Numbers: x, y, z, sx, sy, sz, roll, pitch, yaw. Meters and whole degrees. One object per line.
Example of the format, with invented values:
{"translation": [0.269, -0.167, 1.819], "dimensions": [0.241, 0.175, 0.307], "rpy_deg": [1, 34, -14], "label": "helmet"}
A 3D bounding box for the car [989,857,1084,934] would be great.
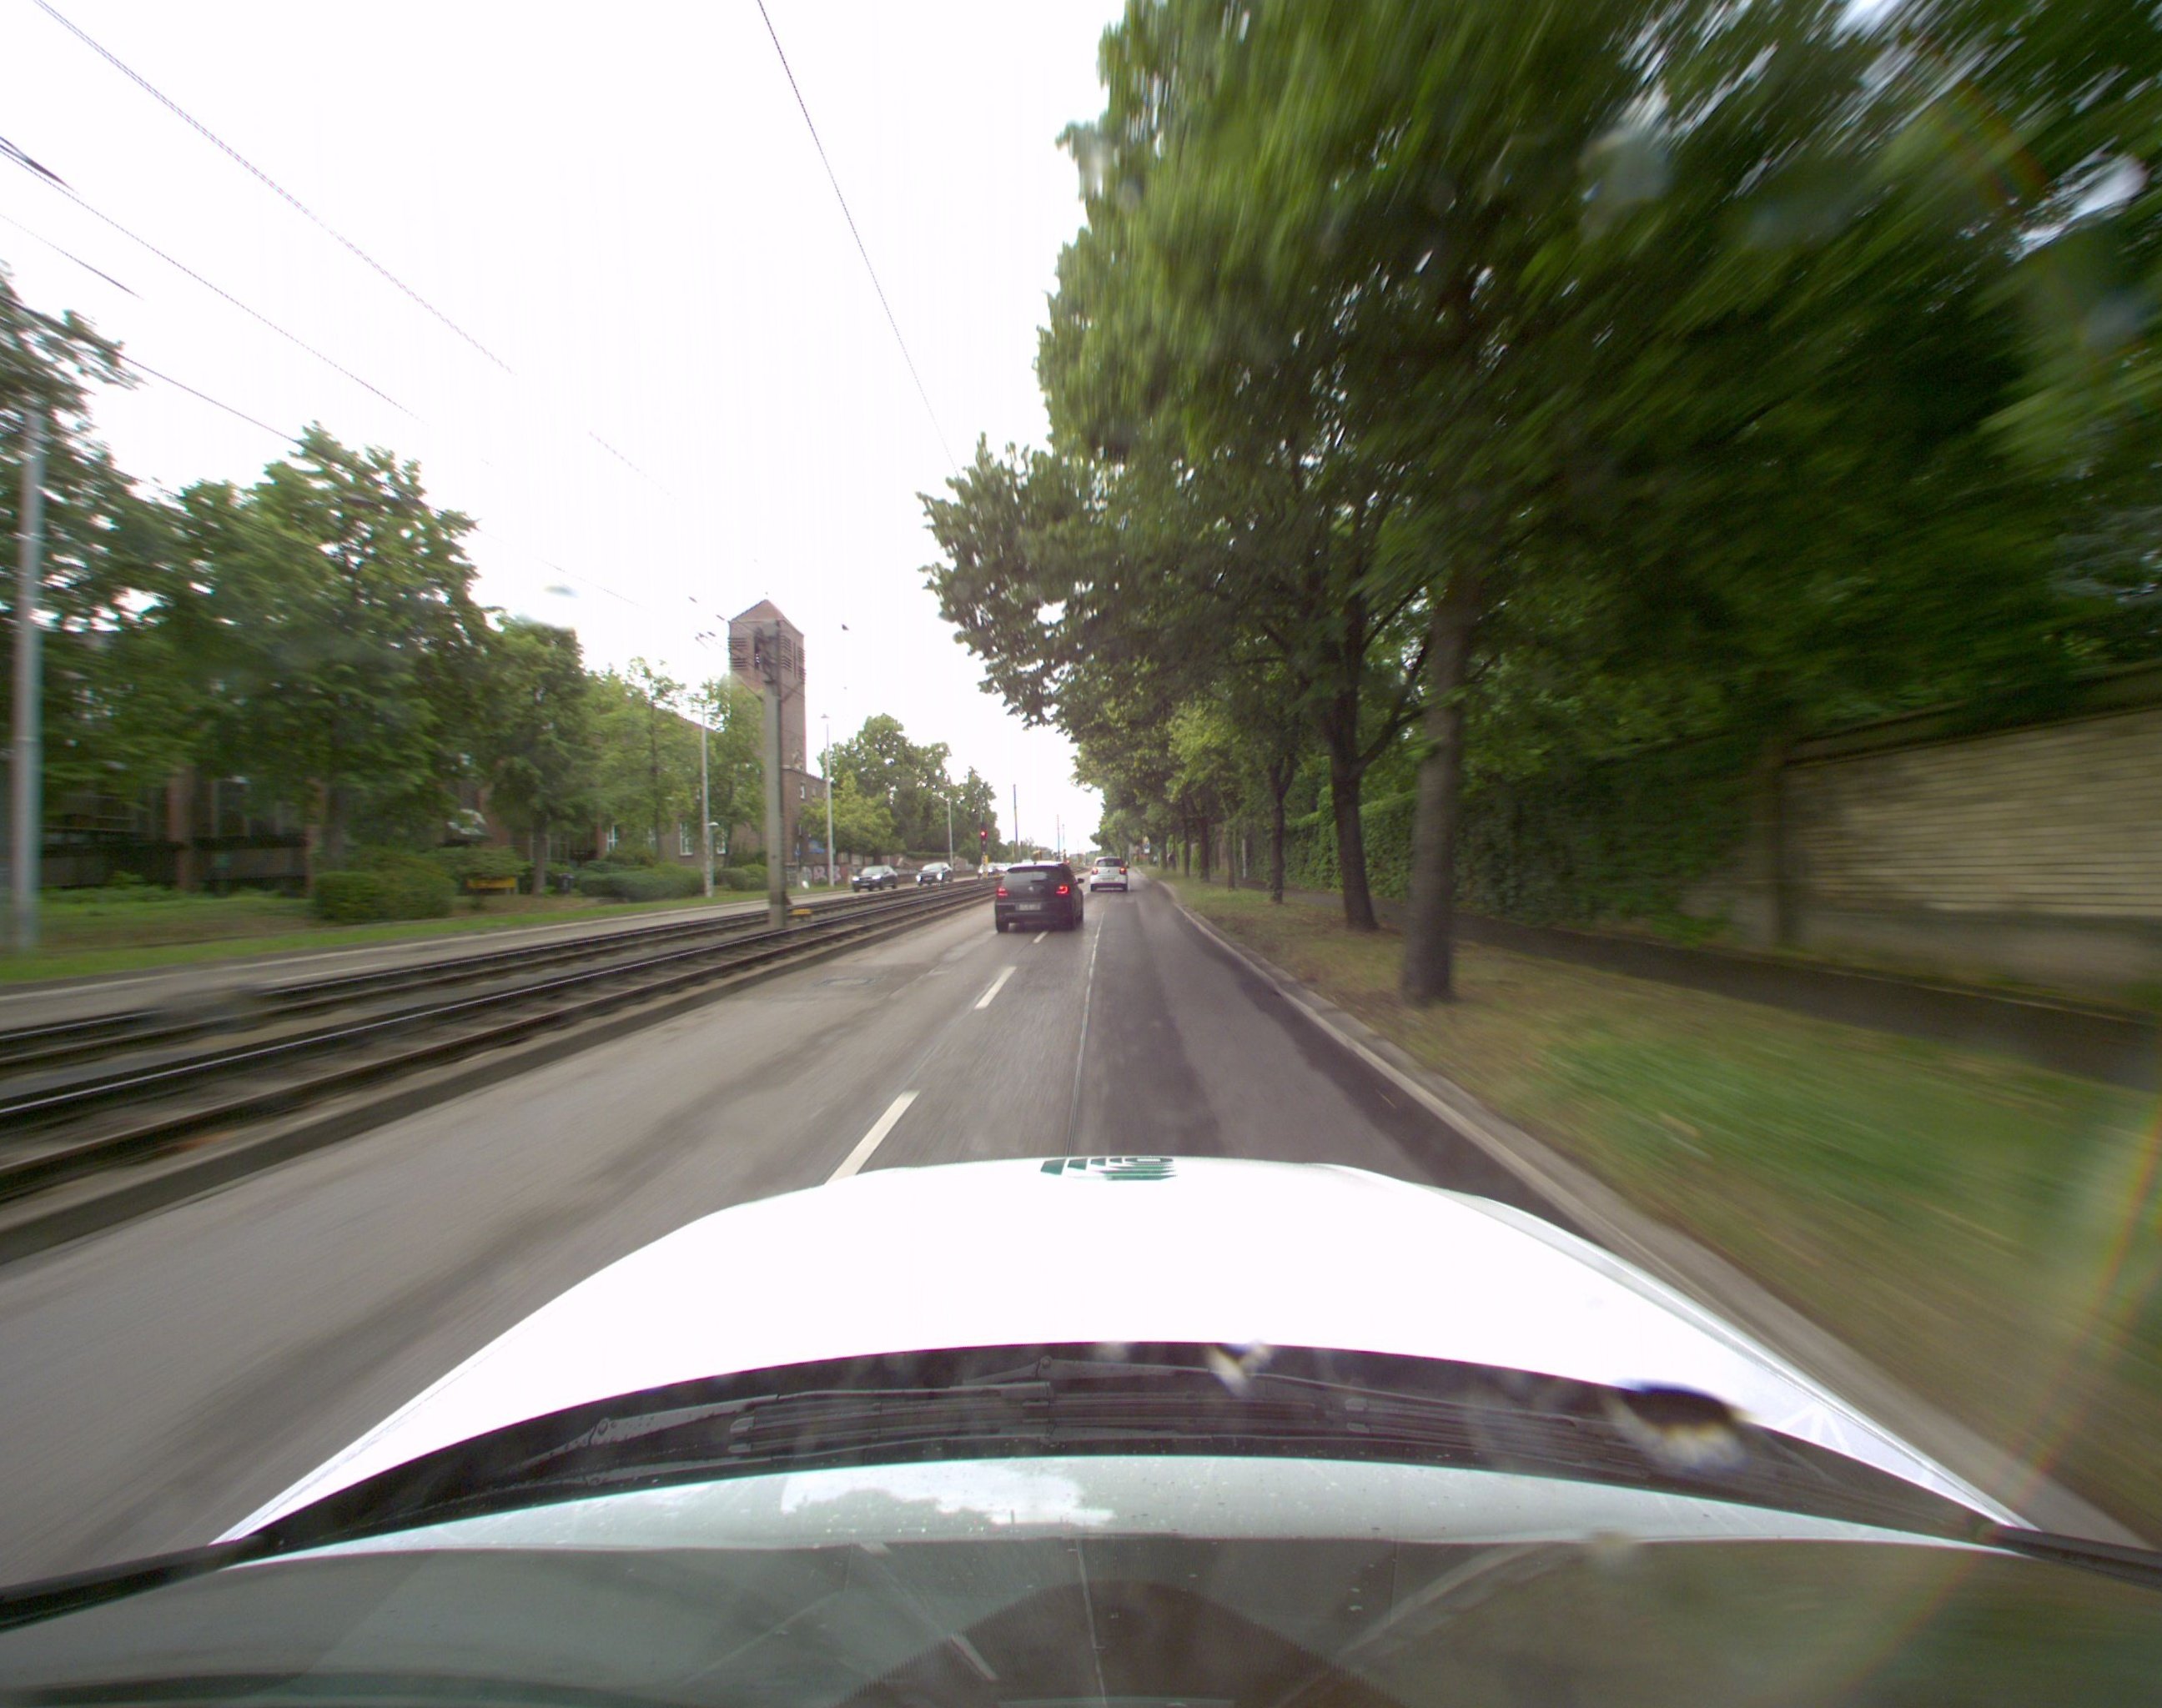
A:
{"translation": [-0.882, 0.828, 18.259], "dimensions": [1.787, 1.485, 3.966], "rpy_deg": [-1, 0, 1], "label": "car"}

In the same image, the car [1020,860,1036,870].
{"translation": [-8.580, 1.762, 132.331], "dimensions": [1.986, 1.662, 5.129], "rpy_deg": [-1, 0, 2], "label": "car"}

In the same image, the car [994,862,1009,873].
{"translation": [-11.525, 1.929, 117.663], "dimensions": [1.610, 1.434, 4.002], "rpy_deg": [-1, 0, 2], "label": "car"}

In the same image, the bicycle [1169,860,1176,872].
{"translation": [7.684, 0.997, 68.415], "dimensions": [0.405, 0.902, 2.100], "rpy_deg": [-2, 0, 2], "label": "bicycle"}

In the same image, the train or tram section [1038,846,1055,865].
{"translation": [-6.697, 0.359, 158.609], "dimensions": [2.823, 3.605, 9.268], "rpy_deg": [-1, 0, 0], "label": "train or tram section"}

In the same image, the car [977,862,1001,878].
{"translation": [-9.103, 1.582, 80.949], "dimensions": [1.673, 1.461, 3.611], "rpy_deg": [-2, 0, 3], "label": "car"}

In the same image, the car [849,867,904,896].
{"translation": [-13.217, 1.766, 52.879], "dimensions": [2.003, 1.656, 4.623], "rpy_deg": [-3, 0, 5], "label": "car"}

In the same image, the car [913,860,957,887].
{"translation": [-10.079, 1.315, 56.521], "dimensions": [1.826, 1.656, 4.245], "rpy_deg": [-3, 0, 5], "label": "car"}

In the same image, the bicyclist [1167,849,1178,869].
{"translation": [7.670, 0.407, 68.421], "dimensions": [0.760, 1.616, 0.999], "rpy_deg": [-2, 0, 2], "label": "bicyclist"}

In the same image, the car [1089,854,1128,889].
{"translation": [1.297, 0.754, 37.446], "dimensions": [1.669, 1.531, 3.724], "rpy_deg": [0, 0, 3], "label": "car"}

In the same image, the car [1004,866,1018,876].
{"translation": [-11.532, 2.781, 133.953], "dimensions": [1.721, 1.443, 4.002], "rpy_deg": [-1, 0, 2], "label": "car"}

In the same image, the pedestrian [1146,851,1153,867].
{"translation": [12.705, 0.938, 150.349], "dimensions": [1.159, 2.977, 0.948], "rpy_deg": [-1, 0, 2], "label": "pedestrian"}
